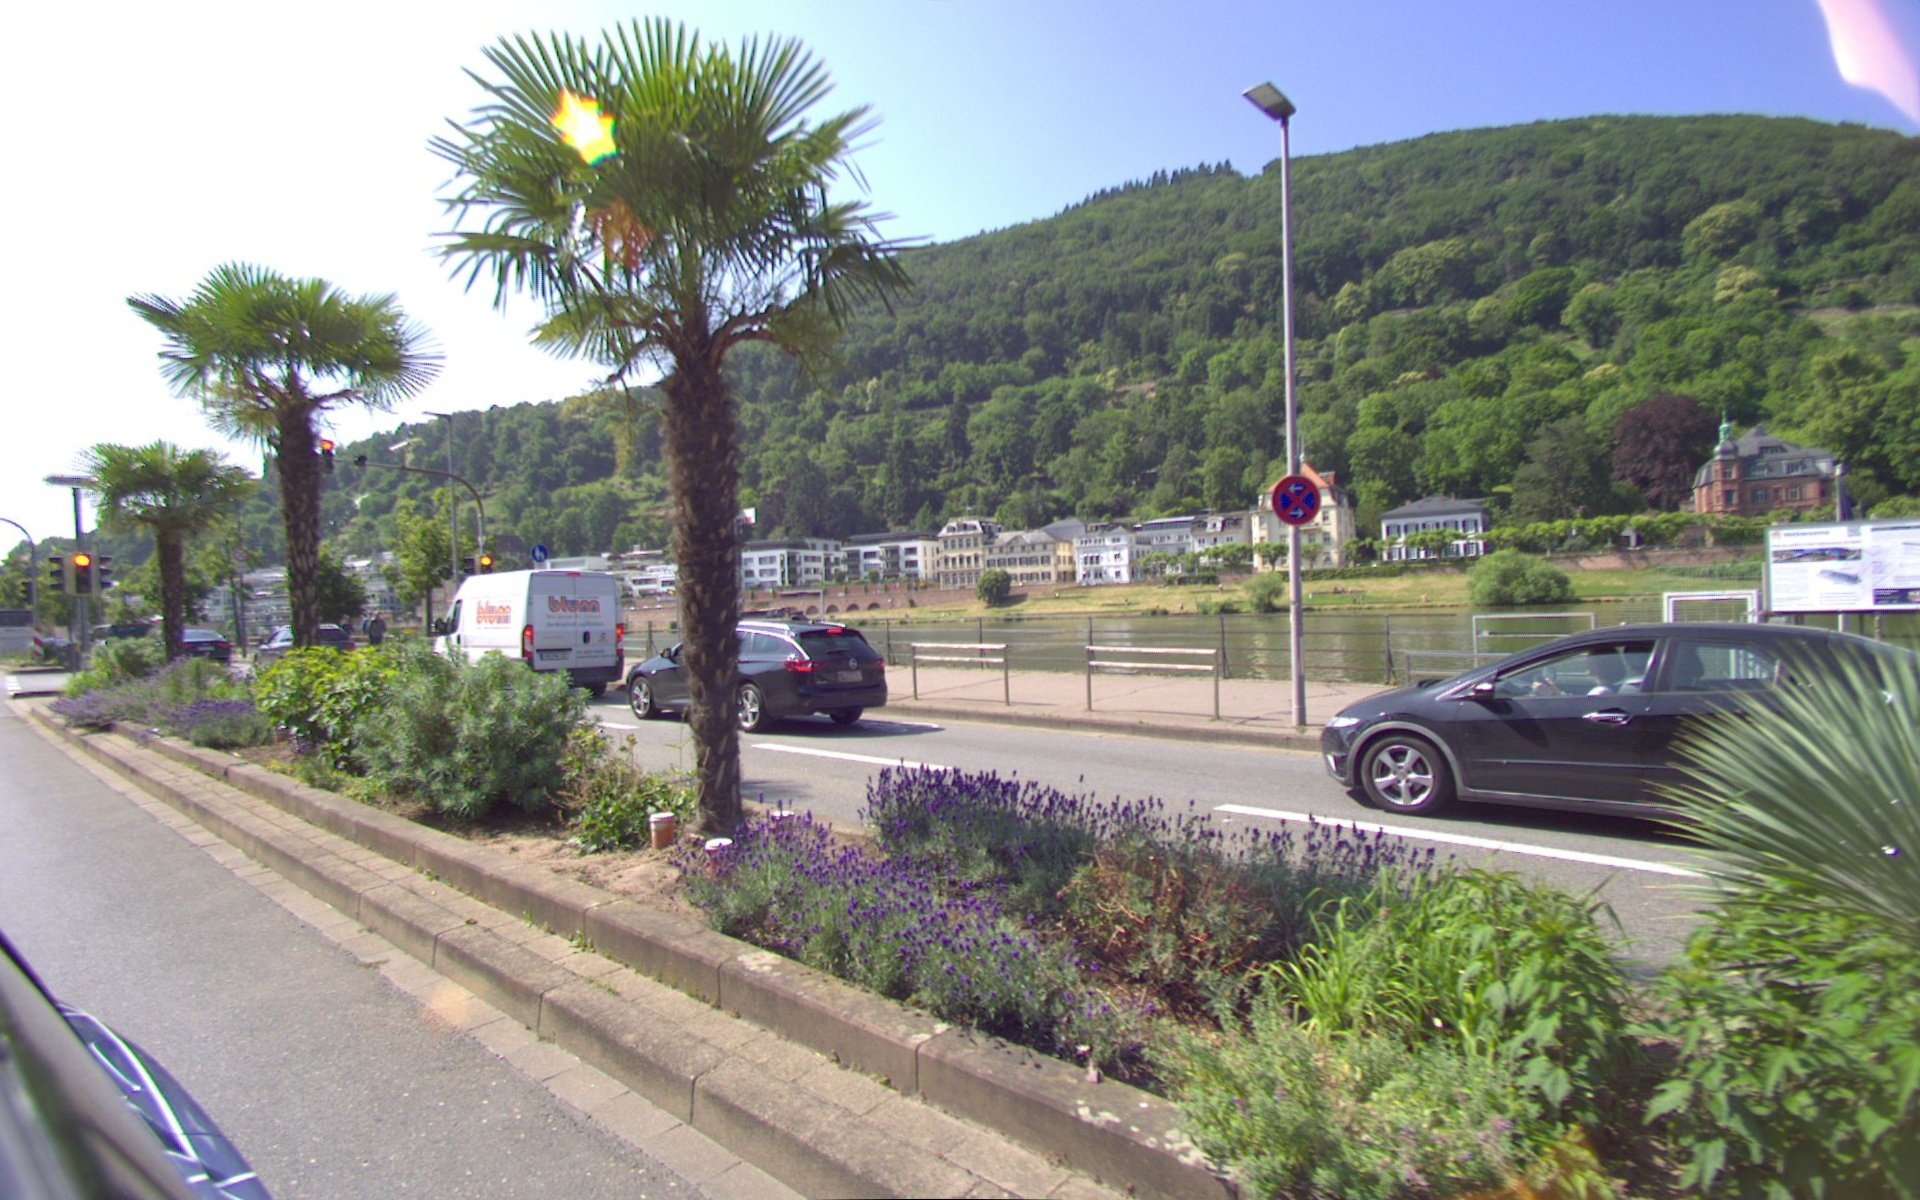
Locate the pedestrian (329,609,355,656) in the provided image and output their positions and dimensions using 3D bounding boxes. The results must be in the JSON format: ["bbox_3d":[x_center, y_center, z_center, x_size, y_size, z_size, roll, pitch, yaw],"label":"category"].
[{"bbox_3d":[-23.376,1.229,38.273,0.780,1.765,0.586,-2,-1,40],"label":"pedestrian"}]

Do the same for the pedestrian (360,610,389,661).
[{"bbox_3d":[-21.735,1.304,37.571,0.579,1.870,0.784,-2,-1,40],"label":"pedestrian"}]

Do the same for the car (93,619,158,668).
[{"bbox_3d":[-40.016,2.056,48.465,5.024,2.166,1.844,-2,0,44],"label":"car"}]

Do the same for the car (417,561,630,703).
[{"bbox_3d":[-8.943,0.657,20.551,4.748,2.545,2.171,-2,-3,42],"label":"car"}]

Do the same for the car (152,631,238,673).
[{"bbox_3d":[-29.564,1.951,39.049,4.645,1.469,1.971,-2,-1,44],"label":"car"}]

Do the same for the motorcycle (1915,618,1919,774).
[{"bbox_3d":[5.713,0.770,4.199,2.512,1.397,0.718,-2,-1,44],"label":"motorcycle"}]

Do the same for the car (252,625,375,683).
[{"bbox_3d":[-19.001,1.539,29.657,4.260,1.463,1.972,-2,1,42],"label":"car"}]

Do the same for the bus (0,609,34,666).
[{"bbox_3d":[-61.755,2.366,63.776,10.767,3.413,2.627,-2,-1,35],"label":"bus"}]

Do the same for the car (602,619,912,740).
[{"bbox_3d":[-3.122,1.044,14.844,4.920,1.429,1.972,-2,-1,43],"label":"car"}]

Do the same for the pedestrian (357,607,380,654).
[{"bbox_3d":[-22.774,1.170,38.966,0.503,1.765,0.586,-2,-1,40],"label":"pedestrian"}]

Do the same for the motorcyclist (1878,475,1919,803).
[{"bbox_3d":[4.961,0.174,4.790,0.861,1.538,0.694,-2,-1,44],"label":"motorcyclist"}]

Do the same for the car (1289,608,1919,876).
[{"bbox_3d":[4.682,0.810,7.288,4.082,1.447,1.638,-1,0,44],"label":"car"}]
